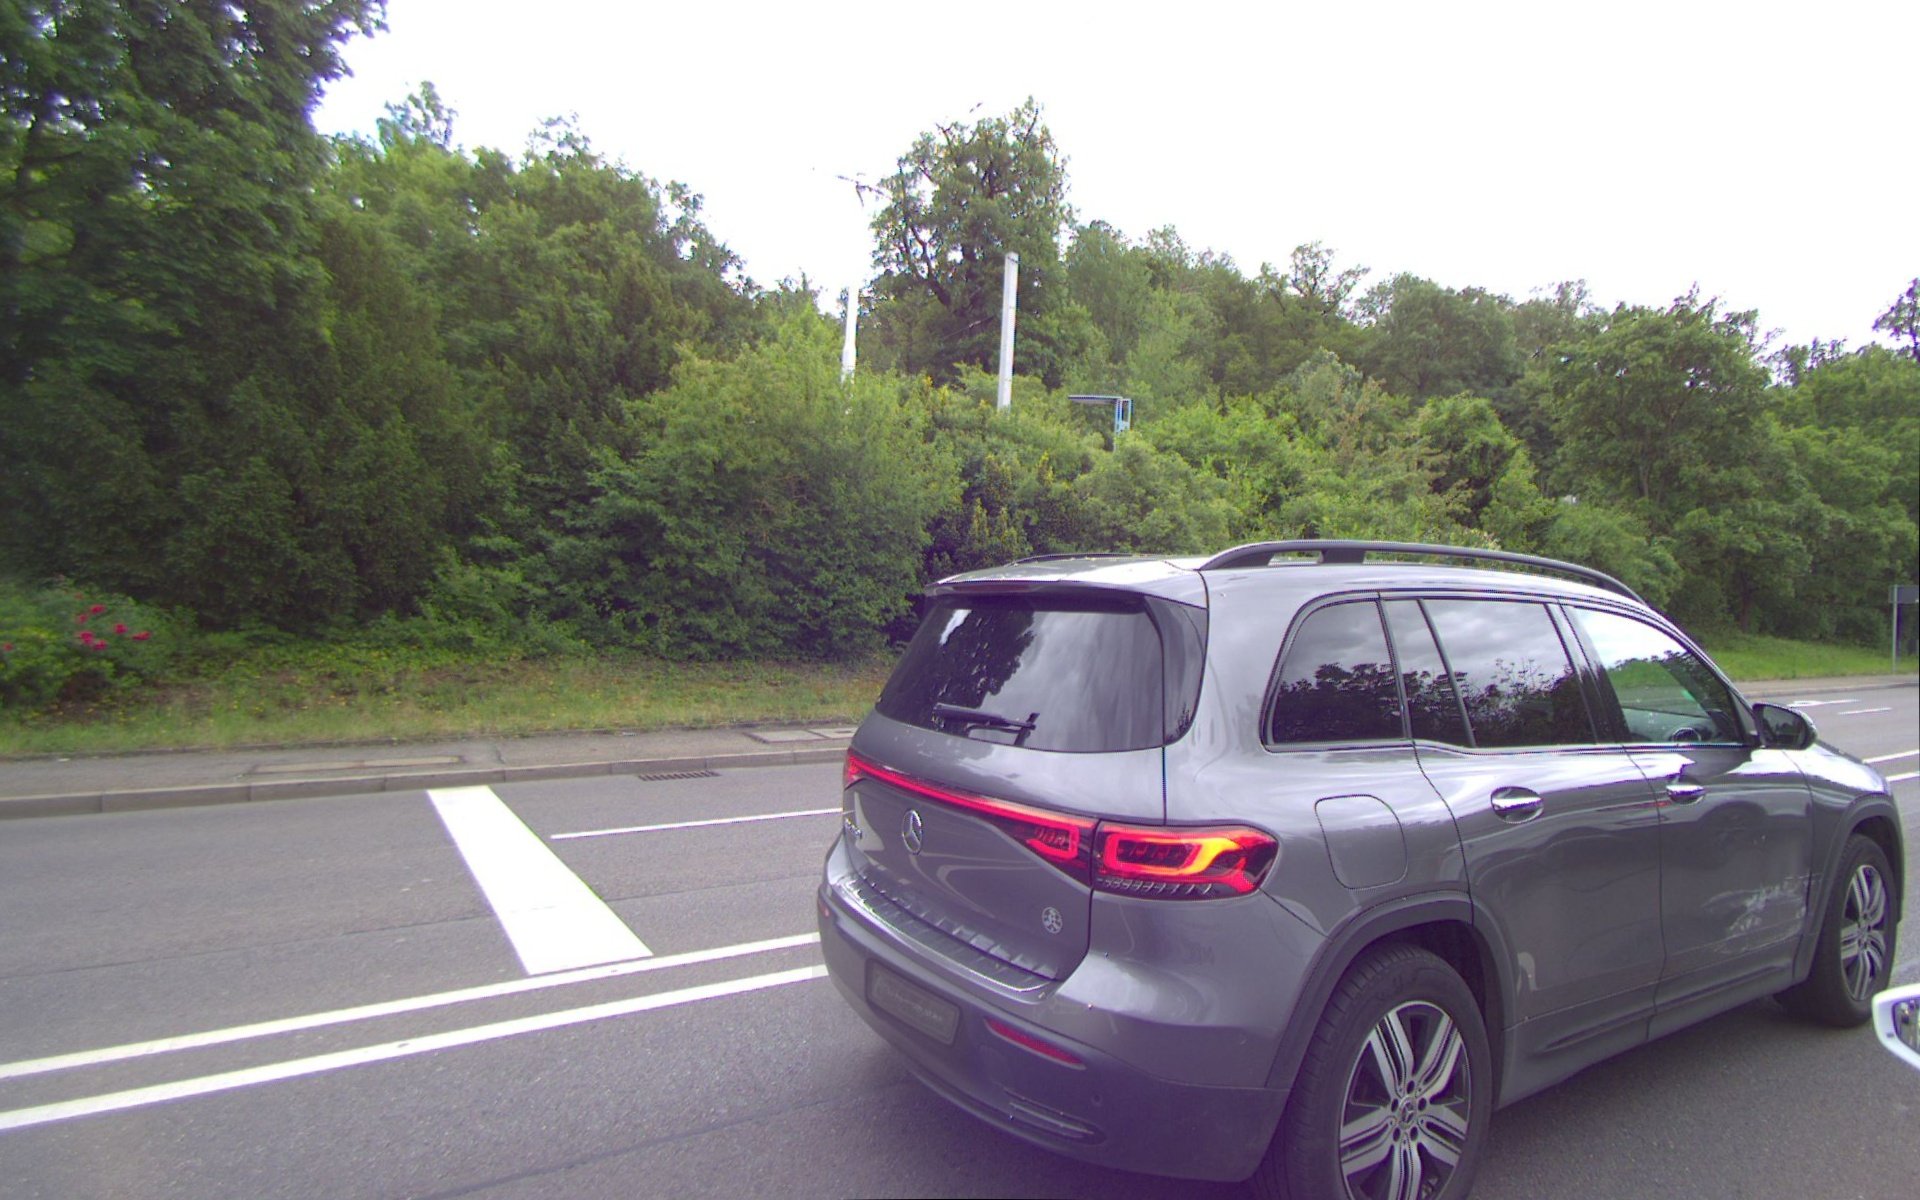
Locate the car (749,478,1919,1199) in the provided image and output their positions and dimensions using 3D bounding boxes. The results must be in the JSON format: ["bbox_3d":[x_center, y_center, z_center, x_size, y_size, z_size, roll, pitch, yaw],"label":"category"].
[{"bbox_3d":[1.629,0.684,3.605,4.309,1.673,1.839,2,-1,-32],"label":"car"}]
